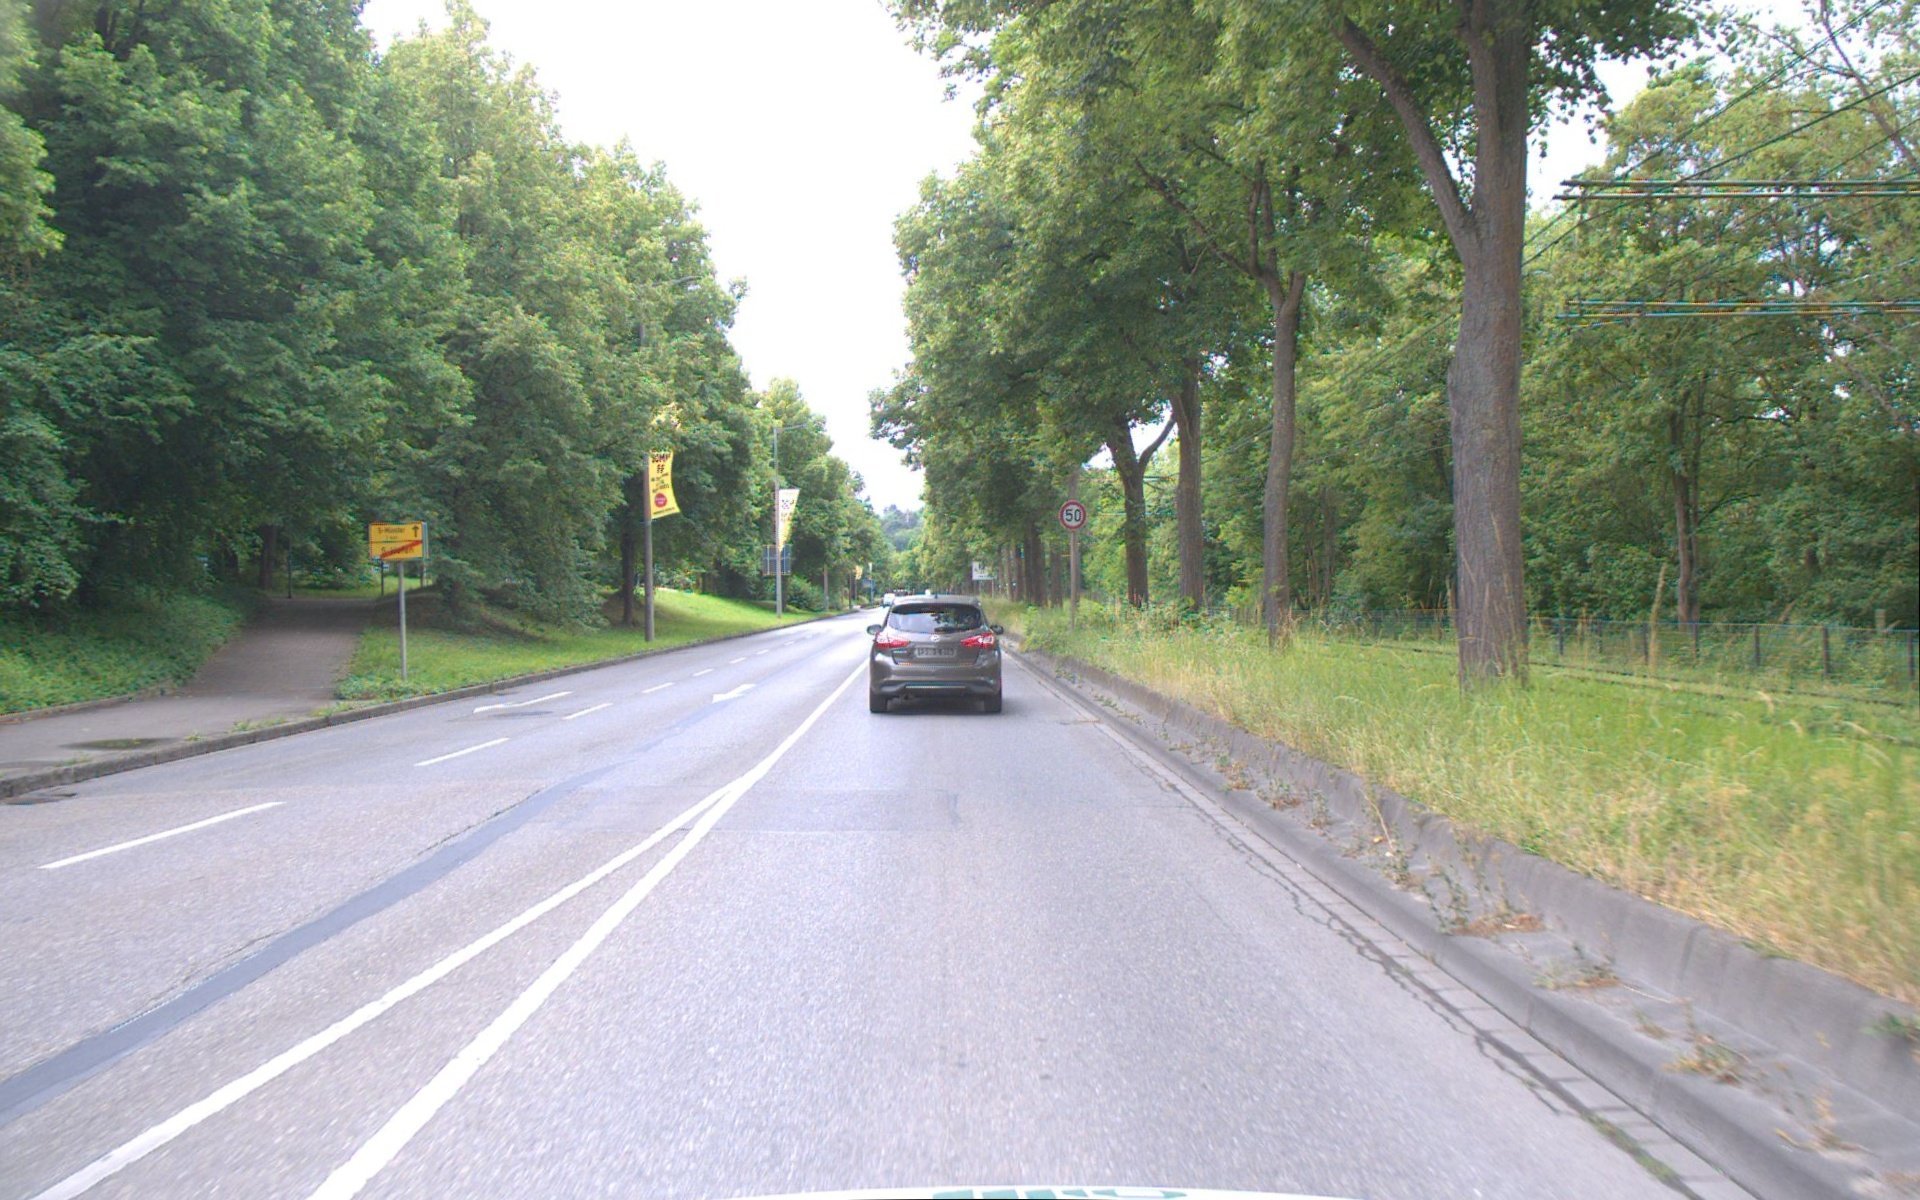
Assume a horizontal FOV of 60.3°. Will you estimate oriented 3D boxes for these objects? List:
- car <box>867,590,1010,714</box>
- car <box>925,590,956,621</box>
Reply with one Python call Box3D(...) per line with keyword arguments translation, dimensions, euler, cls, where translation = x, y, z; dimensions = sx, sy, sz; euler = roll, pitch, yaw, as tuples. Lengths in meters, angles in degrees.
Box3D(translation=(-0.243, 0.663, 22.860), dimensions=(1.799, 1.555, 3.929), euler=(0, 0, 1), cls="car")
Box3D(translation=(-0.979, 0.290, 84.414), dimensions=(1.472, 1.555, 3.671), euler=(1, 0, 1), cls="car")
